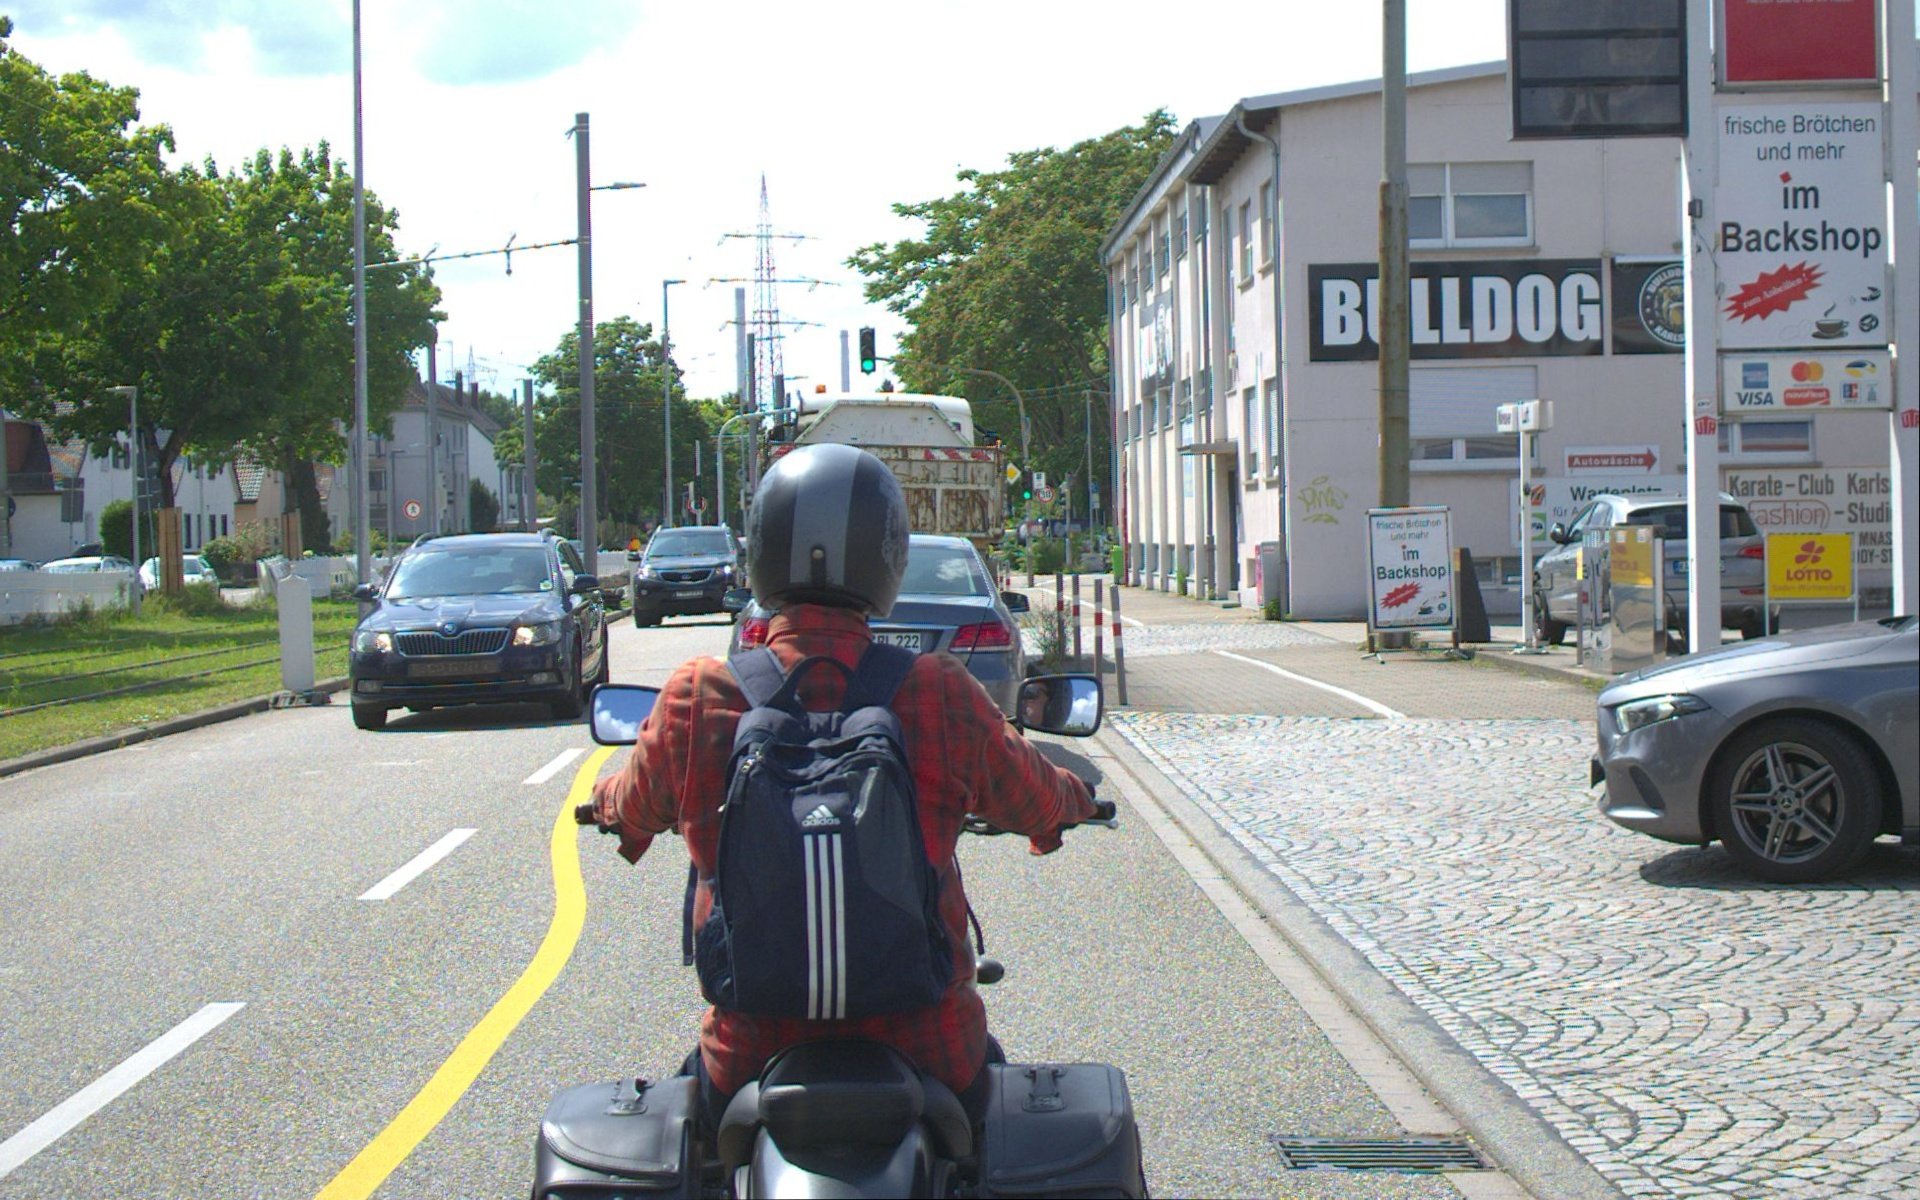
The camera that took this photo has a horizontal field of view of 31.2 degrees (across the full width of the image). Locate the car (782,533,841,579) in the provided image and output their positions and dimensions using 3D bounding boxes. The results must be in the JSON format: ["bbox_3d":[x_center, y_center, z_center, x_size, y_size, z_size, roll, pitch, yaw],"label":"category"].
[{"bbox_3d":[-5.075,-1.522,117.929,1.823,1.447,4.324,-2,1,-1],"label":"car"}]

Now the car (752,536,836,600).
[{"bbox_3d":[-4.005,-0.796,83.479,1.823,1.447,4.324,-2,1,-1],"label":"car"}]

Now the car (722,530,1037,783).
[{"bbox_3d":[-0.497,0.294,22.146,1.823,1.447,4.000,1,1,-1],"label":"car"}]

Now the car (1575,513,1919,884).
[{"bbox_3d":[4.718,0.345,13.638,4.276,1.410,1.673,-1,1,18],"label":"car"}]

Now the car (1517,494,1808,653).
[{"bbox_3d":[7.382,-0.310,36.531,1.667,1.557,4.245,-1,1,-8],"label":"car"}]

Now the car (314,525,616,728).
[{"bbox_3d":[-3.917,0.151,27.865,1.823,1.447,4.324,-2,1,-1],"label":"car"}]

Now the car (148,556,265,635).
[{"bbox_3d":[-17.494,-0.137,79.970,1.776,1.717,4.128,-1,1,0],"label":"car"}]

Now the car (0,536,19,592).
[{"bbox_3d":[-30.042,-1.069,104.415,1.776,1.717,4.128,-1,1,0],"label":"car"}]

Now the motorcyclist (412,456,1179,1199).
[{"bbox_3d":[-0.213,0.609,5.037,0.979,1.597,1.088,-1,1,-1],"label":"motorcyclist"}]

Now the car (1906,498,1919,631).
[{"bbox_3d":[11.737,-0.385,37.100,1.806,1.498,3.834,-1,1,-3],"label":"car"}]

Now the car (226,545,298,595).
[{"bbox_3d":[-25.416,-1.106,125.251,1.776,1.717,4.128,-1,1,0],"label":"car"}]

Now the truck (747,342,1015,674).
[{"bbox_3d":[-0.839,-1.014,38.655,2.638,3.285,8.057,-1,1,-1],"label":"truck"}]

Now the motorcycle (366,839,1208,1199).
[{"bbox_3d":[-0.209,0.951,5.349,0.979,0.894,2.653,-1,1,-1],"label":"motorcycle"}]

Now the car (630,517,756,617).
[{"bbox_3d":[-4.560,-0.603,59.215,1.823,1.596,4.324,-2,1,-1],"label":"car"}]
